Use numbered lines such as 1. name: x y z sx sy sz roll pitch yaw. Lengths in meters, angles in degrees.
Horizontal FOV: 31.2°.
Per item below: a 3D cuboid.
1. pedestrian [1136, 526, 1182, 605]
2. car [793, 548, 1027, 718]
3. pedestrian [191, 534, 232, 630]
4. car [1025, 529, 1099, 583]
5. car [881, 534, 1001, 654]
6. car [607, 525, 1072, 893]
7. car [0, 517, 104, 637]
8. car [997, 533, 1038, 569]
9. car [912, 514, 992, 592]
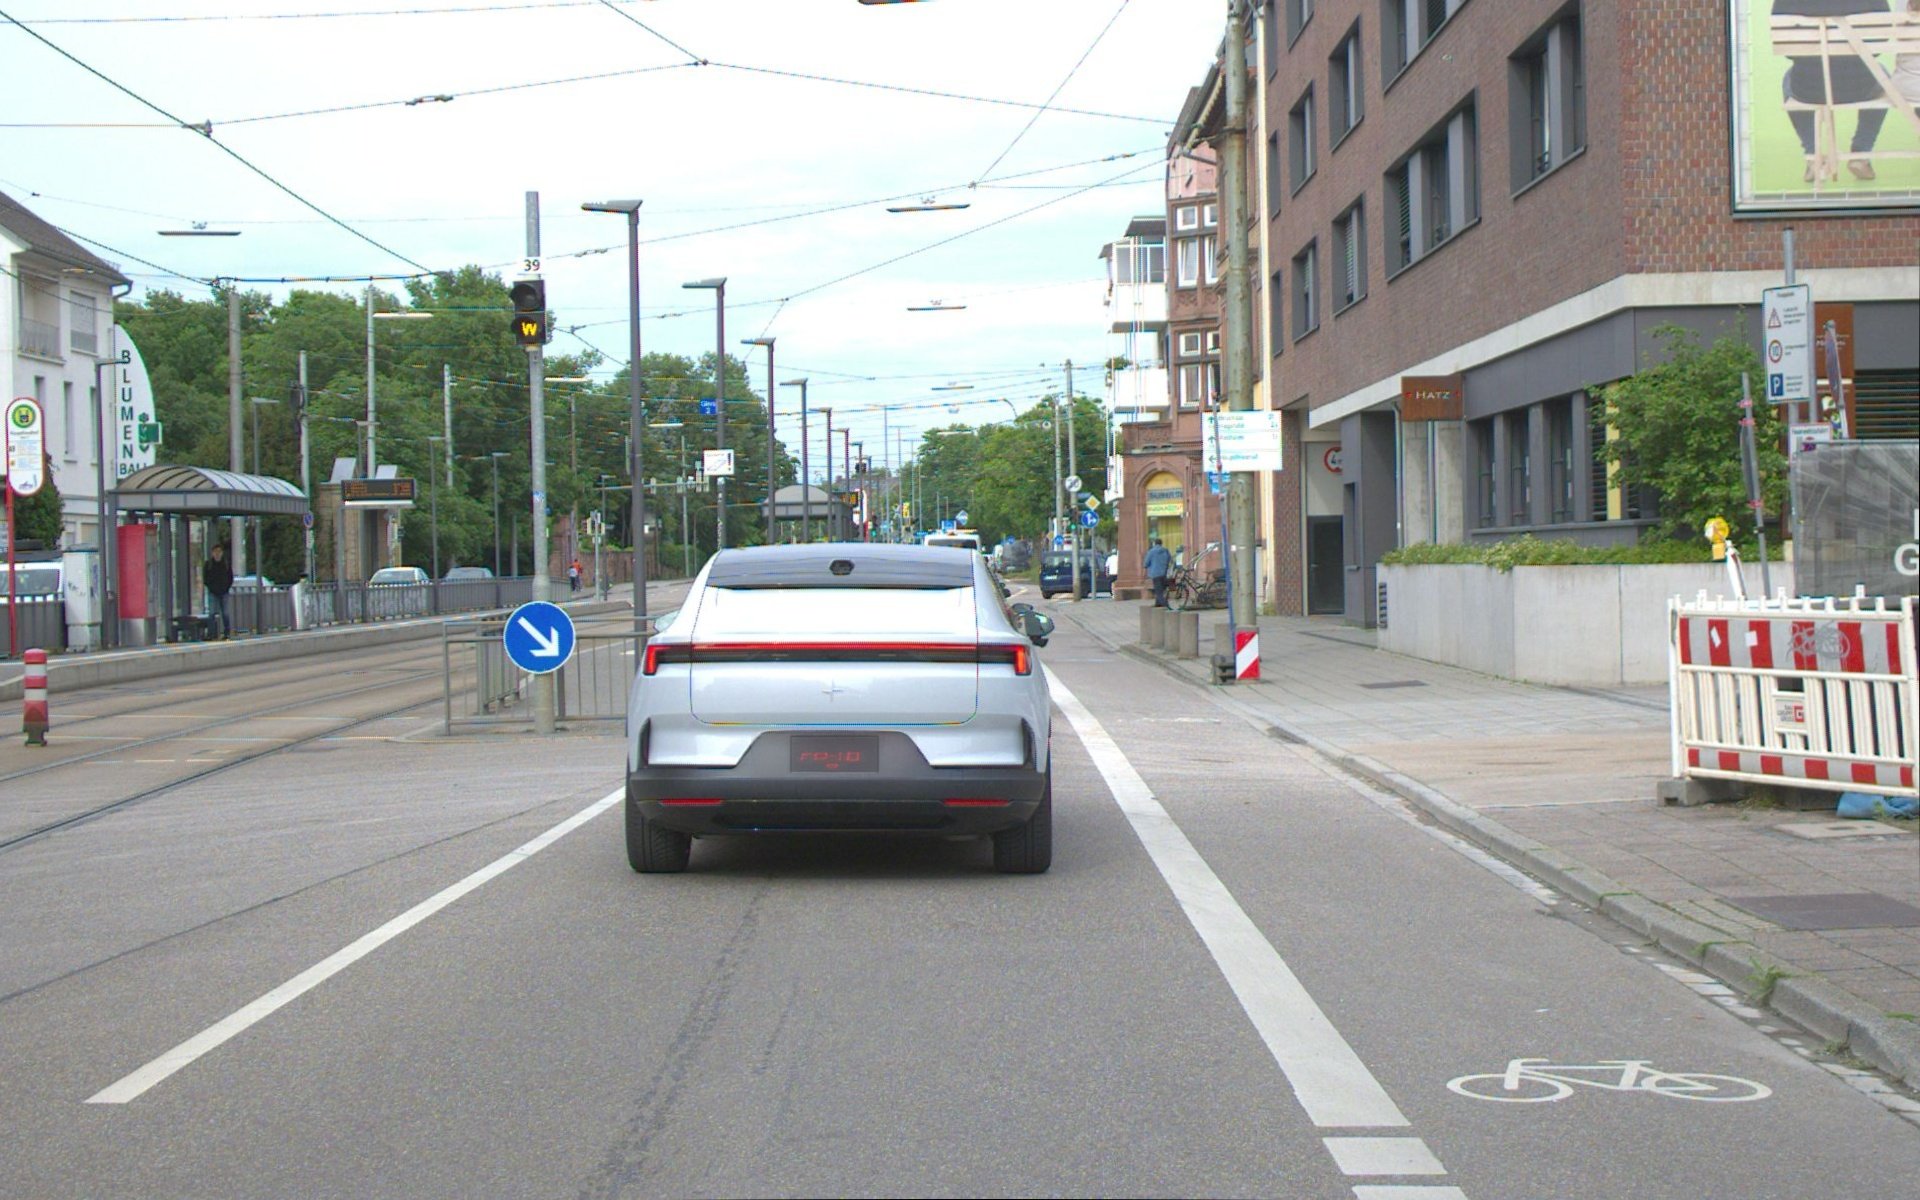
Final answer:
1. pedestrian: 4.830 -0.840 83.232 0.961 1.843 0.975 -3 1 6
2. car: -0.474 0.256 31.876 1.993 1.415 4.000 -2 1 -1
3. pedestrian: -13.001 -0.318 59.709 0.615 1.659 0.697 0 0 -20
4. car: 3.880 -1.670 130.243 1.995 2.007 3.998 0 0 13
5. car: -0.252 -0.102 50.073 1.681 1.682 3.824 0 0 0
6. car: -0.662 0.457 16.777 1.999 1.575 4.001 0 0 -4
7. car: -16.325 -0.400 59.612 1.884 1.982 4.525 -2 1 -1
8. car: 4.082 -3.451 243.788 2.807 2.496 5.722 0 0 0
9. car: -0.282 -1.450 107.303 2.225 2.394 5.124 0 0 -3
